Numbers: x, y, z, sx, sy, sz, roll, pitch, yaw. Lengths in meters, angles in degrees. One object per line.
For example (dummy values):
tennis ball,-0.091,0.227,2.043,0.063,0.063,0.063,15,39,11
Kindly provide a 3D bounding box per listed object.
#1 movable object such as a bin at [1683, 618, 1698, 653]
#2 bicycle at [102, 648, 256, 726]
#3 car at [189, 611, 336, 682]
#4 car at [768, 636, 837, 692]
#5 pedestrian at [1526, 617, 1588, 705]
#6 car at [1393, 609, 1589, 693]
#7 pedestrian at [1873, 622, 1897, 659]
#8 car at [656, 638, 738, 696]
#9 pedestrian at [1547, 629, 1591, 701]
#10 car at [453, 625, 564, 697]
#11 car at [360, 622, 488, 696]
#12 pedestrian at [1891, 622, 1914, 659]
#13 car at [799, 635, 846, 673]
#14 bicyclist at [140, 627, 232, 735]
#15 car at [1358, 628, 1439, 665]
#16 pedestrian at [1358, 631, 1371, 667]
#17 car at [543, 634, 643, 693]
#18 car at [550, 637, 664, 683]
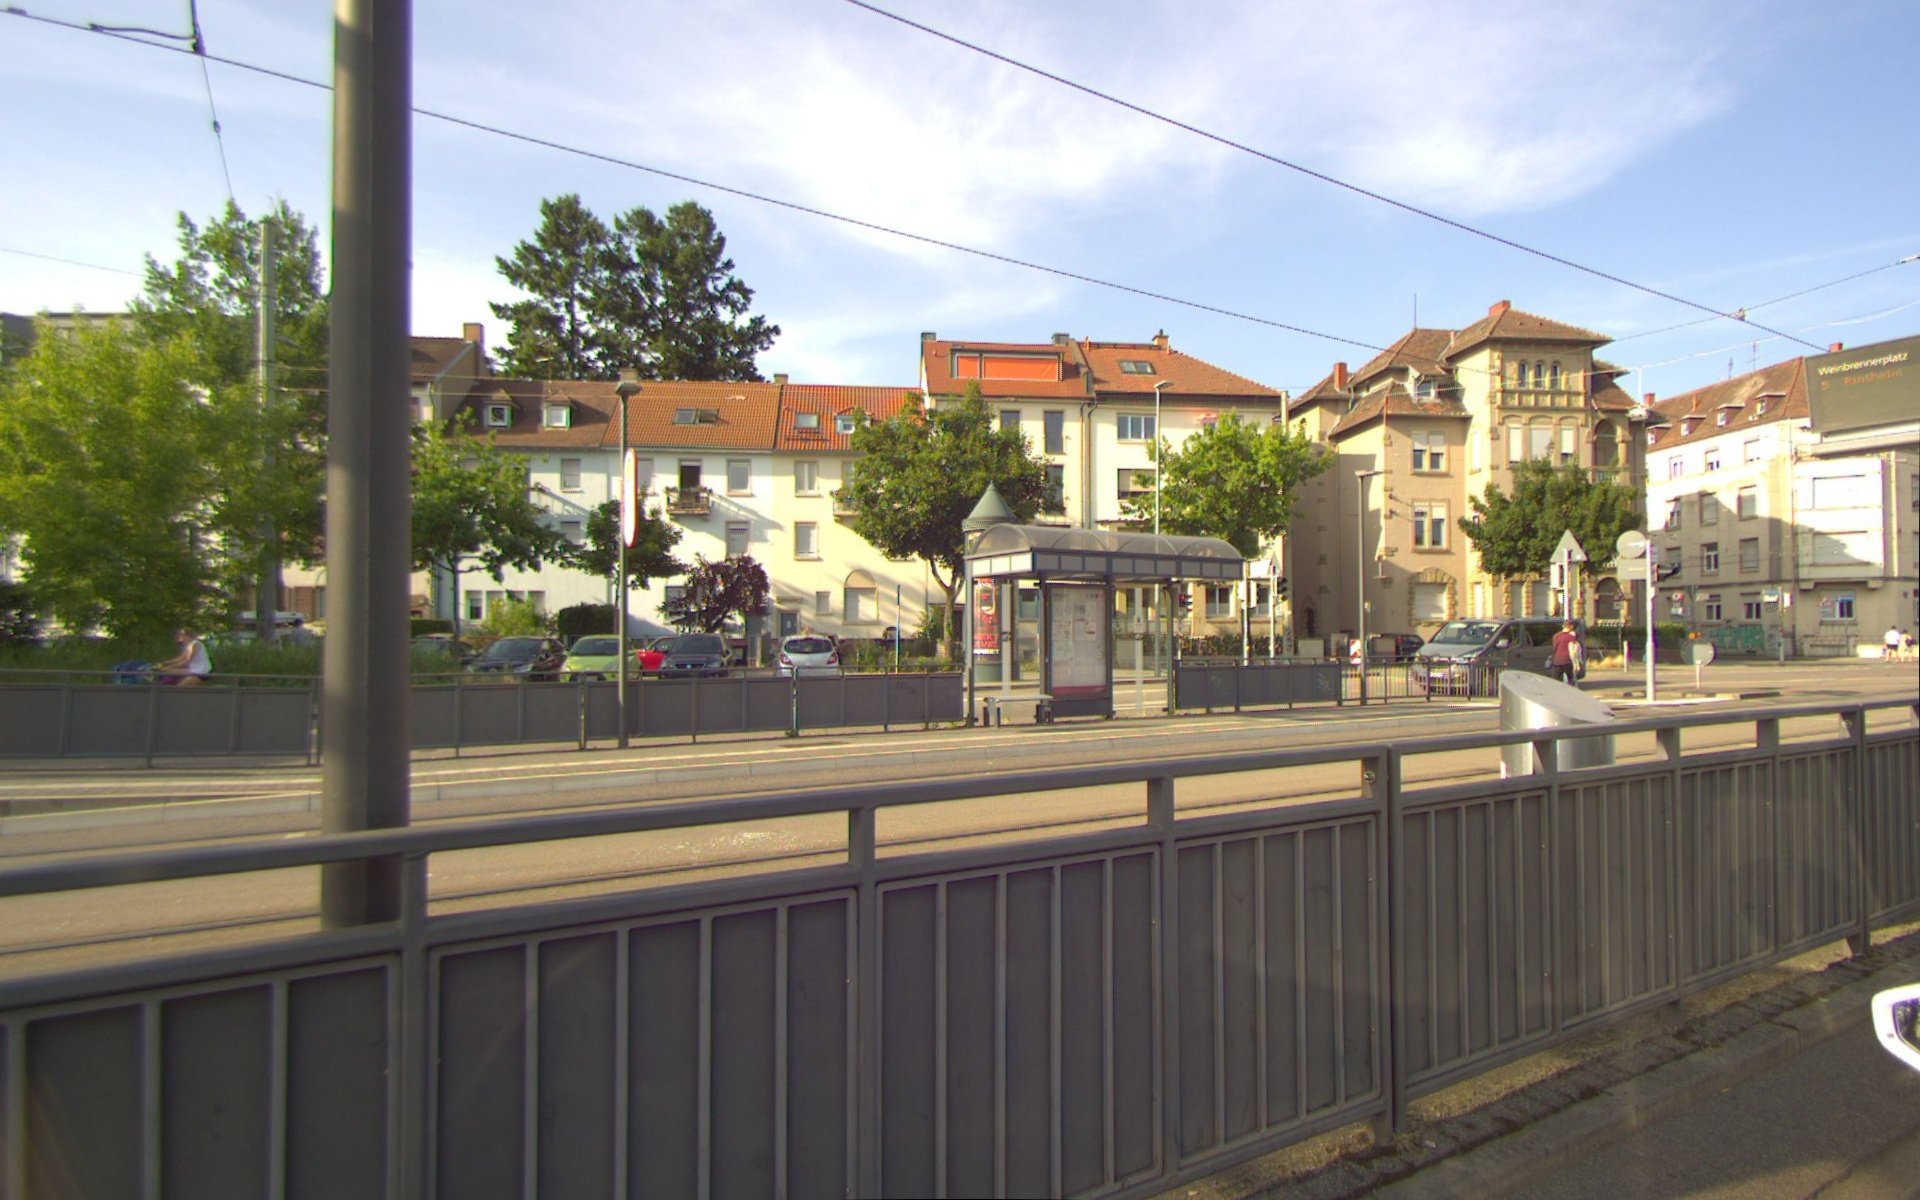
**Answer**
movable object such as a bin,36.851,1.793,50.666,0.259,1.732,2.379,-1,-2,29
bicycle,-12.432,1.357,16.056,1.842,1.125,0.722,1,1,-30
car,-18.963,1.252,27.531,1.822,1.777,3.993,0,-2,-11
car,-4.372,1.727,27.975,1.740,1.447,3.995,0,-2,-9
pedestrian,11.806,1.194,19.874,0.872,1.692,0.667,1,-2,-26
car,14.216,1.319,26.815,5.323,2.040,2.136,1,-2,-30
pedestrian,47.640,2.082,51.721,0.616,1.905,0.659,0,-2,-15
car,-7.068,1.762,27.346,1.740,1.447,3.995,0,-2,-9
pedestrian,13.910,1.476,22.946,0.708,1.610,0.586,1,-2,-34
car,-11.973,1.584,26.911,1.822,1.777,3.993,0,-2,-11
car,-13.886,1.502,26.293,1.822,1.777,3.993,0,-2,-11
pedestrian,47.750,2.032,50.872,0.642,1.872,0.670,1,-2,-32
car,-6.030,2.358,44.377,1.821,1.578,3.998,0,-2,-4
bicyclist,-12.384,1.266,16.102,1.058,1.646,0.702,0,1,-28
car,20.468,2.148,47.053,1.742,1.653,3.998,0,-2,-5
pedestrian,17.446,2.108,43.352,0.382,1.535,0.405,0,-2,-3
car,-9.731,1.643,26.940,1.740,1.447,3.995,0,-2,-9
car,-12.184,2.063,34.866,3.444,1.544,1.567,0,-2,-7
